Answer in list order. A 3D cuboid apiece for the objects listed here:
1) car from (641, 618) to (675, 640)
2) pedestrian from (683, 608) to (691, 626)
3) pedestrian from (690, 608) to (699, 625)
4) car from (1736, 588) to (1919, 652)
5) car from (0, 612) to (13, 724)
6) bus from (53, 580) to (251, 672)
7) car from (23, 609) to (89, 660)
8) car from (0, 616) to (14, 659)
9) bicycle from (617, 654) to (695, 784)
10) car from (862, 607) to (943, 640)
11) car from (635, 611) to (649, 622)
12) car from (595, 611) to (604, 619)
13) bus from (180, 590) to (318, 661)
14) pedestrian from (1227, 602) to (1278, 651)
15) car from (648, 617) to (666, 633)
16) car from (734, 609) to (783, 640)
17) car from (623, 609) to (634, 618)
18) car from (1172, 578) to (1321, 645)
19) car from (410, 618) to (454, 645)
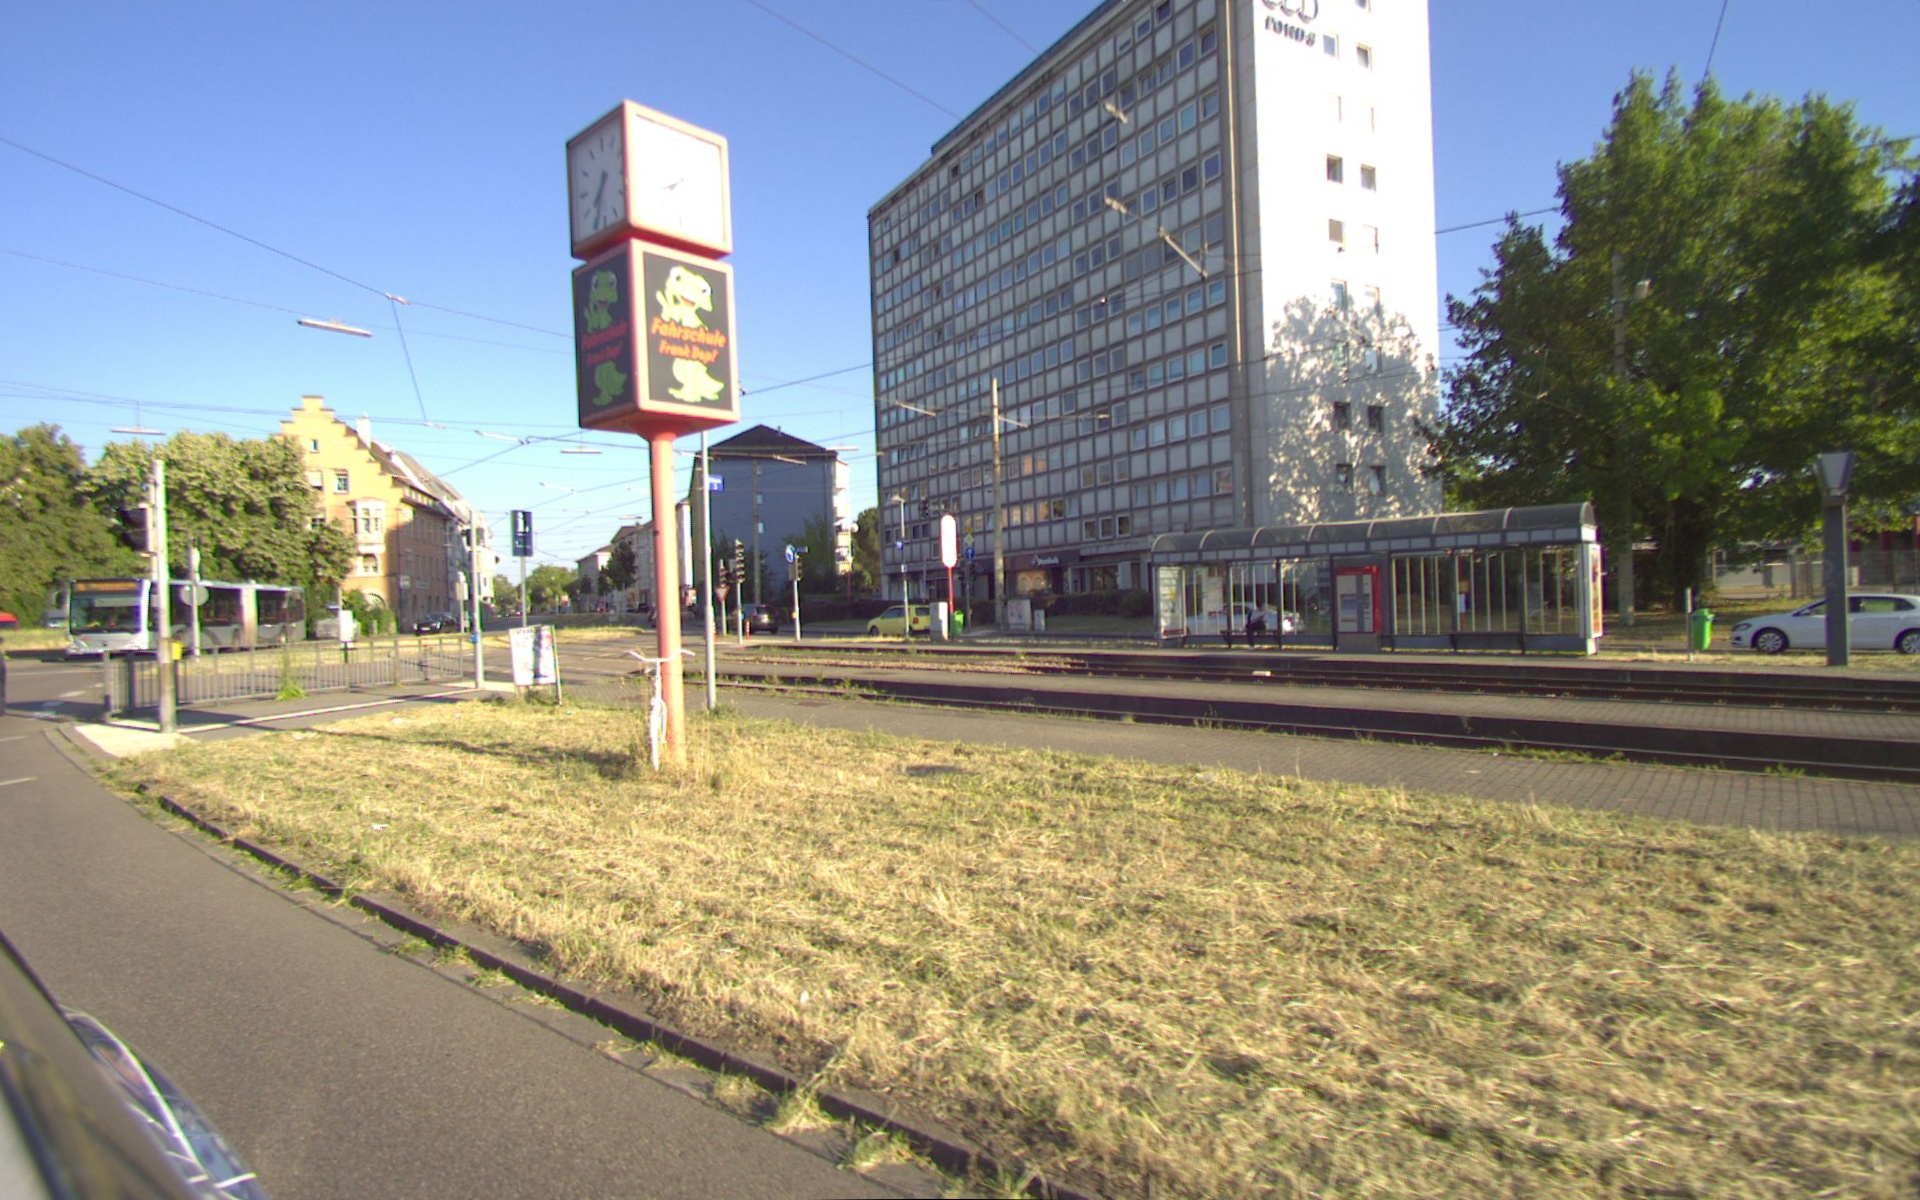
[{"bbox_3d":[-23.894,2.266,79.954,1.628,1.608,4.600,-2,0,-29],"label":"car"},{"bbox_3d":[-28.034,1.716,103.873,0.585,1.786,0.888,-6,1,-18],"label":"pedestrian"},{"bbox_3d":[-27.420,1.693,104.539,0.608,1.707,0.708,-7,1,-18],"label":"pedestrian"},{"bbox_3d":[20.444,0.441,23.327,3.963,1.378,1.783,-1,-1,41],"label":"car"},{"bbox_3d":[-14.246,0.989,13.611,1.760,1.636,4.225,-1,-1,-37],"label":"car"},{"bbox_3d":[-31.465,1.003,40.077,2.686,3.100,10.633,-1,-1,-19],"label":"bus"},{"bbox_3d":[-51.306,1.954,57.382,6.211,2.686,2.016,-2,-1,41],"label":"car"},{"bbox_3d":[-52.971,2.070,54.744,5.412,2.230,2.016,-2,-1,41],"label":"car"},{"bbox_3d":[-2.600,0.948,8.565,0.545,0.925,1.748,0,-1,-19],"label":"bicycle"},{"bbox_3d":[-2.533,1.018,43.985,1.527,1.350,3.597,-2,0,-43],"label":"car"},{"bbox_3d":[-49.316,2.617,156.732,1.891,1.674,4.723,-1,-1,-19],"label":"car"},{"bbox_3d":[-76.510,3.204,214.812,1.768,1.480,4.811,0,0,-21],"label":"car"},{"bbox_3d":[-34.918,1.238,50.225,2.667,3.100,10.633,-1,-1,-19],"label":"bus"},{"bbox_3d":[7.393,0.663,25.581,0.923,1.197,0.834,-2,-1,42],"label":"pedestrian"},{"bbox_3d":[-31.522,2.596,105.154,1.751,1.493,4.413,-1,0,-17],"label":"car"},{"bbox_3d":[-11.176,1.333,55.993,1.558,1.607,4.166,-1,0,-27],"label":"car"},{"bbox_3d":[-56.858,2.312,173.391,1.673,1.471,4.330,0,0,-20],"label":"car"},{"bbox_3d":[9.218,0.380,32.735,4.161,2.029,1.972,-2,-1,43],"label":"car"},{"bbox_3d":[-37.519,2.209,72.054,1.966,1.785,4.011,-1,-1,-15],"label":"car"}]
